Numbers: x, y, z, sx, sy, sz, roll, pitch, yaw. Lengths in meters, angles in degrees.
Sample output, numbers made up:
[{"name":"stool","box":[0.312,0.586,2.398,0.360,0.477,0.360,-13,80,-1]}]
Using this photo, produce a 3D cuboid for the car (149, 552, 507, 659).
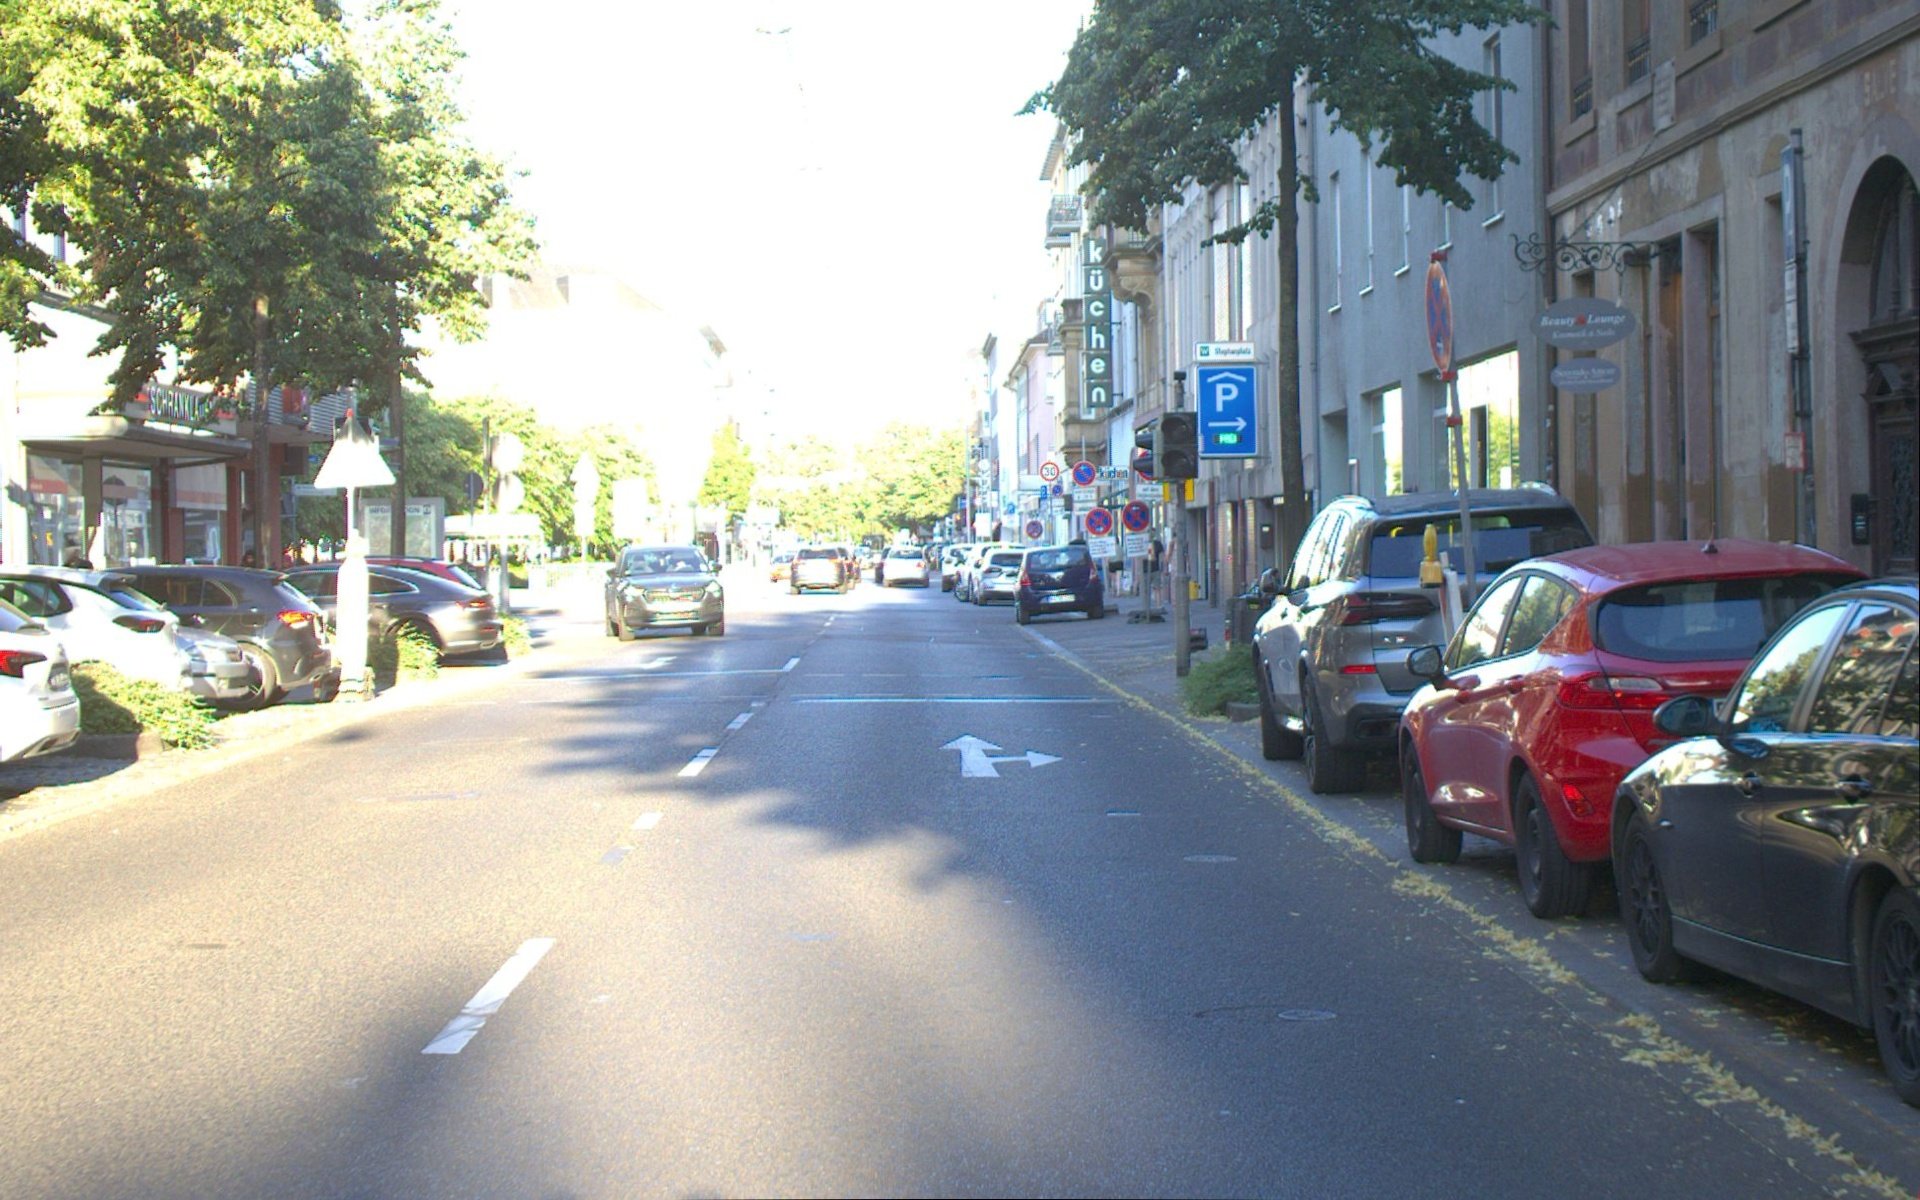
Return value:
[{"name":"car","box":[-8.540,0.059,46.746,4.570,1.403,1.822,0,1,-2]}]

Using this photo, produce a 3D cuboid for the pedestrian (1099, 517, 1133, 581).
[{"name":"pedestrian","box":[4.218,-1.383,92.947,0.772,1.705,1.042,-3,1,-2]}]

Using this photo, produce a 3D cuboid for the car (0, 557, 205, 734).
[{"name":"car","box":[-8.398,0.362,28.964,3.737,1.439,1.806,0,1,-3]}]

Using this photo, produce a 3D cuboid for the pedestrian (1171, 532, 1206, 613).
[{"name":"pedestrian","box":[4.567,-0.554,68.774,0.604,1.594,0.774,0,1,-2]}]

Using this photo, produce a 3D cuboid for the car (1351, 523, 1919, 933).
[{"name":"car","box":[2.960,0.452,15.126,1.729,1.482,3.901,-3,1,-4]}]

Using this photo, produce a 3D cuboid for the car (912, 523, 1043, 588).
[{"name":"car","box":[0.457,-1.228,95.834,1.993,1.755,4.467,-1,1,-24]}]

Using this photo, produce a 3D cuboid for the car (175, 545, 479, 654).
[{"name":"car","box":[-9.129,-0.022,49.782,4.072,1.531,1.884,0,1,-1]}]

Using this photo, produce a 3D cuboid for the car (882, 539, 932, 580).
[{"name":"car","box":[-2.106,-1.589,136.287,1.896,1.576,4.000,1,1,-2]}]

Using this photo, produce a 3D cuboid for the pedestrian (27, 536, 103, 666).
[{"name":"pedestrian","box":[-11.919,0.018,45.807,0.772,1.715,0.876,0,-1,-1]}]

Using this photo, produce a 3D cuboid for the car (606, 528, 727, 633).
[{"name":"car","box":[-5.184,-0.384,61.266,1.861,1.686,4.461,-1,2,-1]}]

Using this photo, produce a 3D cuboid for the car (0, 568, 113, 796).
[{"name":"car","box":[-7.760,0.501,22.287,4.149,1.416,1.767,0,1,-3]}]

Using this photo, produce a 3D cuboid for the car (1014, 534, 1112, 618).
[{"name":"car","box":[2.057,-0.504,69.365,1.759,1.531,4.000,-4,1,0]}]

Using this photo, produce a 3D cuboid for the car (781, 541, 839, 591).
[{"name":"car","box":[-5.062,-1.146,116.647,1.896,1.644,4.104,0,1,-2]}]

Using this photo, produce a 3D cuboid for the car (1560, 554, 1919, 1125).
[{"name":"car","box":[3.314,0.580,10.257,1.951,1.385,4.425,-3,1,-4]}]

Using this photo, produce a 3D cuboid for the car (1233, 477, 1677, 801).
[{"name":"car","box":[2.991,0.174,21.812,2.038,1.731,4.711,-3,1,0]}]

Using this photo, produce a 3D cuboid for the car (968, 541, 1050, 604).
[{"name":"car","box":[1.233,-0.698,88.134,1.759,1.531,4.822,1,0,-3]}]

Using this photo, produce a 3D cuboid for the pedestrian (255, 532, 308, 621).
[{"name":"pedestrian","box":[-11.732,-0.396,59.466,0.734,1.523,0.876,0,-1,-1]}]

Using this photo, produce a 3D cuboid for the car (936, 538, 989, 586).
[{"name":"car","box":[0.064,-1.364,122.136,1.729,1.645,4.285,1,1,-2]}]

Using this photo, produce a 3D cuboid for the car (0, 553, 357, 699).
[{"name":"car","box":[-8.179,0.240,34.161,4.106,1.398,1.884,0,1,-3]}]

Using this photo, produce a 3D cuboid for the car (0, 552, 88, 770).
[{"name":"car","box":[-8.183,0.403,24.472,3.556,1.497,1.716,0,1,-2]}]

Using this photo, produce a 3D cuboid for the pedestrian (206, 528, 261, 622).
[{"name":"pedestrian","box":[-12.521,-0.424,59.265,0.772,1.602,0.876,0,-1,-1]}]

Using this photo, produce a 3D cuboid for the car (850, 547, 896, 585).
[{"name":"car","box":[-3.800,-1.484,149.820,1.896,1.575,3.852,2,1,-2]}]

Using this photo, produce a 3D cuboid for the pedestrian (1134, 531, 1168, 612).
[{"name":"pedestrian","box":[3.810,-0.573,68.617,0.604,1.594,0.774,0,1,-2]}]

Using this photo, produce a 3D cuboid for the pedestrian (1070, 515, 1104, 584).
[{"name":"pedestrian","box":[3.422,-1.361,92.894,0.772,1.821,1.011,-3,1,-2]}]

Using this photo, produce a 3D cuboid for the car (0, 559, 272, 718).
[{"name":"car","box":[-8.638,0.346,31.922,4.097,1.398,1.843,-1,1,1]}]
